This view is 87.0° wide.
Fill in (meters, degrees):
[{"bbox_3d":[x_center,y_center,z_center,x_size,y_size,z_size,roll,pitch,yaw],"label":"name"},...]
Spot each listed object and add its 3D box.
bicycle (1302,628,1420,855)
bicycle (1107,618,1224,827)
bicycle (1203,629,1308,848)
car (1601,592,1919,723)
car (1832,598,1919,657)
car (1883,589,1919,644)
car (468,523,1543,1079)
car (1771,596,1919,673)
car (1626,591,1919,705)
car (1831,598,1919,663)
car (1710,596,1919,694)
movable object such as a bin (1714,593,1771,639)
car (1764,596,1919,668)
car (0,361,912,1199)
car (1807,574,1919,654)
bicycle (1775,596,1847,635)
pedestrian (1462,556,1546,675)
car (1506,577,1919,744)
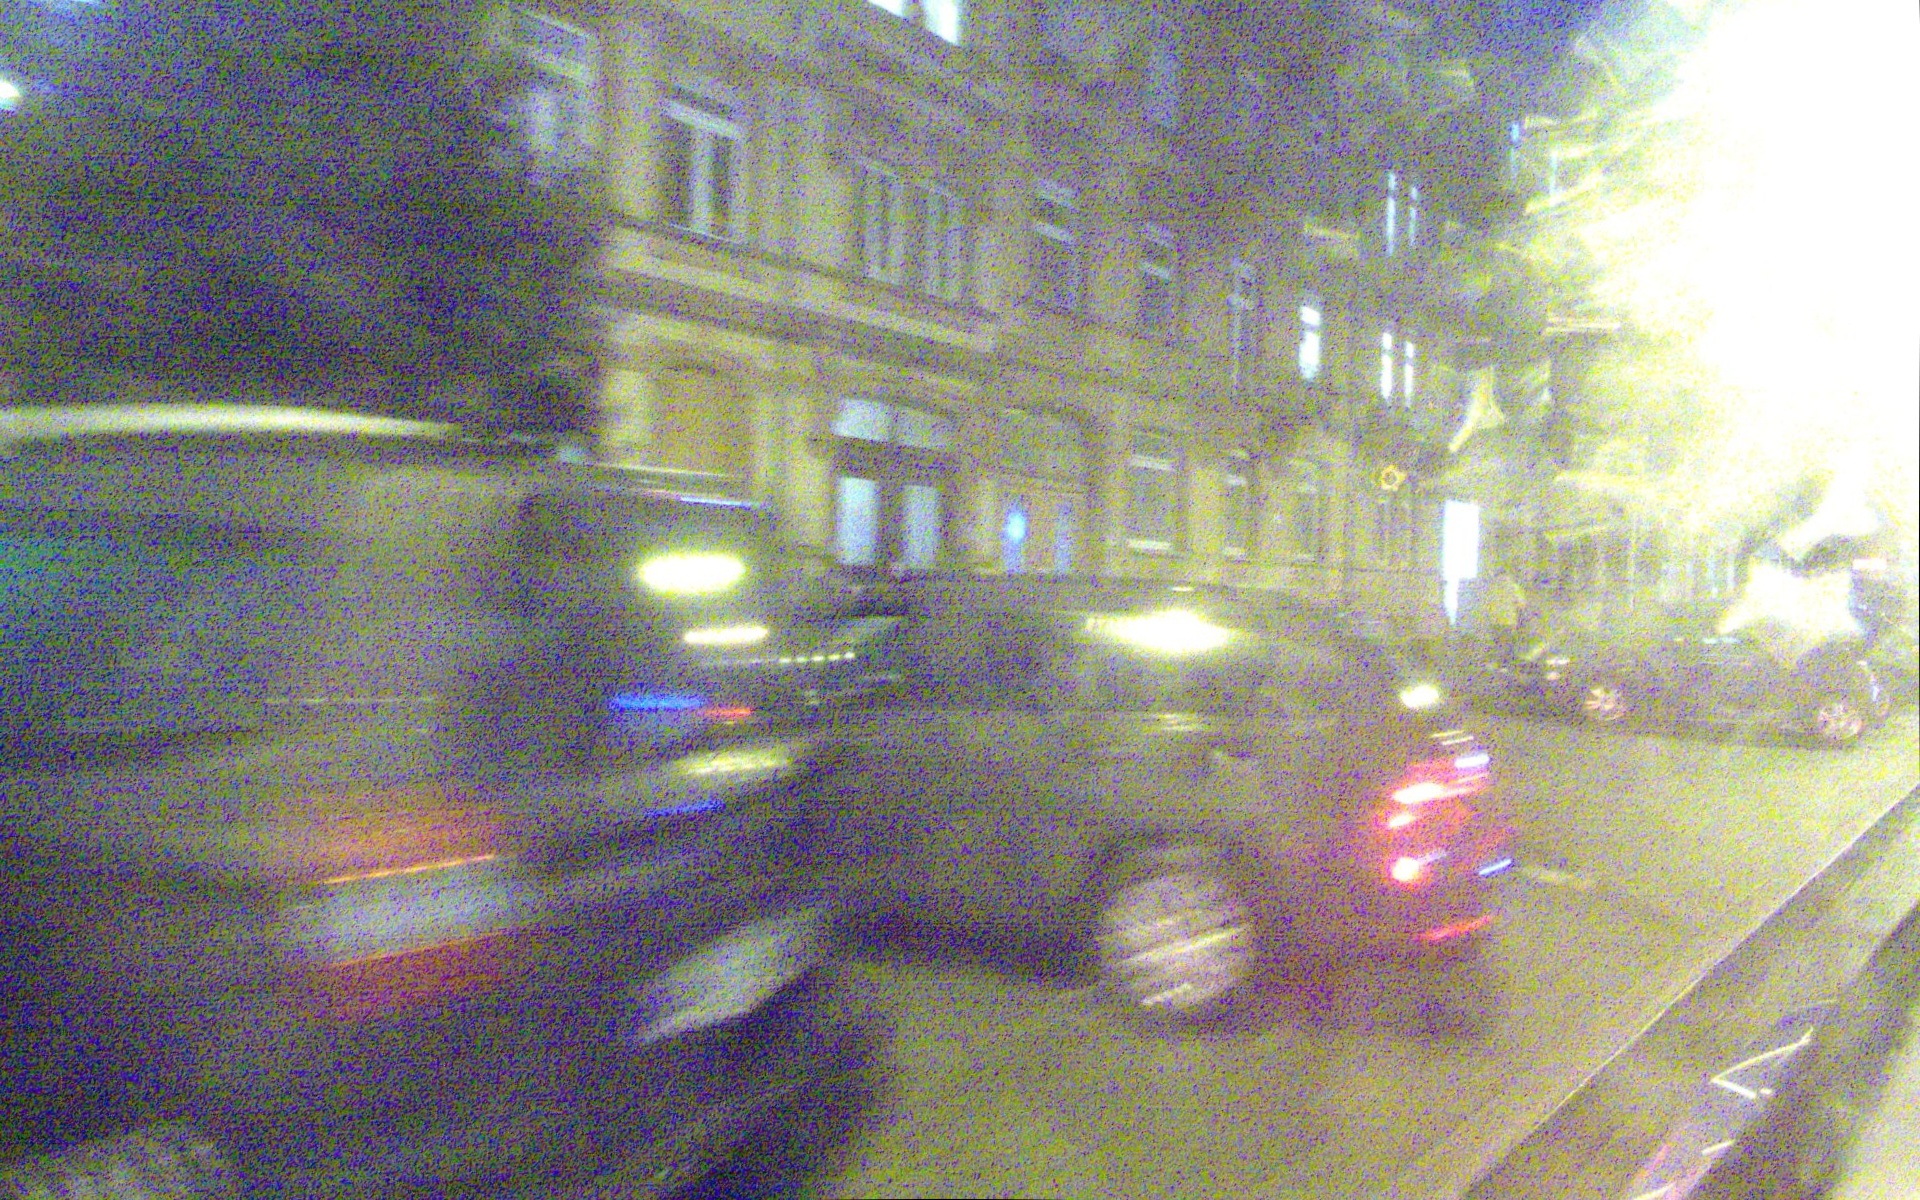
[{"bbox_3d":[2.432,0.774,6.282,0.513,1.089,1.817,3,2,18],"label":"bicycle"},{"bbox_3d":[1.395,0.709,6.639,0.513,1.089,1.817,3,2,18],"label":"bicycle"},{"bbox_3d":[1.906,0.783,6.466,0.513,1.089,1.817,3,2,18],"label":"bicycle"},{"bbox_3d":[11.098,0.729,13.812,3.595,1.600,1.587,1,0,11],"label":"car"},{"bbox_3d":[27.125,0.794,28.596,3.350,1.561,1.571,2,2,14],"label":"car"},{"bbox_3d":[35.933,0.698,35.958,4.186,1.881,1.710,3,2,15],"label":"car"},{"bbox_3d":[0.070,0.518,4.426,3.950,1.511,1.724,3,2,20],"label":"car"},{"bbox_3d":[21.044,0.780,22.721,3.943,1.571,1.797,2,2,15],"label":"car"},{"bbox_3d":[12.876,0.687,16.022,3.610,1.600,1.581,1,0,22],"label":"car"},{"bbox_3d":[25.128,0.814,26.122,3.608,1.561,1.550,2,2,20],"label":"car"},{"bbox_3d":[15.491,0.760,17.493,3.631,1.478,1.597,3,2,15],"label":"car"},{"bbox_3d":[26.448,0.531,34.210,0.981,1.388,1.259,1,5,-40],"label":"movable object such as a bin"},{"bbox_3d":[22.573,0.778,24.806,3.939,1.571,1.993,2,2,12],"label":"car"},{"bbox_3d":[-2.088,0.441,2.728,3.523,1.732,1.635,3,2,21],"label":"car"},{"bbox_3d":[28.888,0.441,30.488,4.656,2.275,1.939,2,2,14],"label":"car"},{"bbox_3d":[33.689,0.592,40.081,0.767,1.351,1.980,1,3,-34],"label":"bicycle"},{"bbox_3d":[9.029,0.242,16.791,0.976,1.878,0.870,1,2,-43],"label":"pedestrian"},{"bbox_3d":[8.705,0.615,11.963,3.603,1.600,1.585,3,2,16],"label":"car"}]
